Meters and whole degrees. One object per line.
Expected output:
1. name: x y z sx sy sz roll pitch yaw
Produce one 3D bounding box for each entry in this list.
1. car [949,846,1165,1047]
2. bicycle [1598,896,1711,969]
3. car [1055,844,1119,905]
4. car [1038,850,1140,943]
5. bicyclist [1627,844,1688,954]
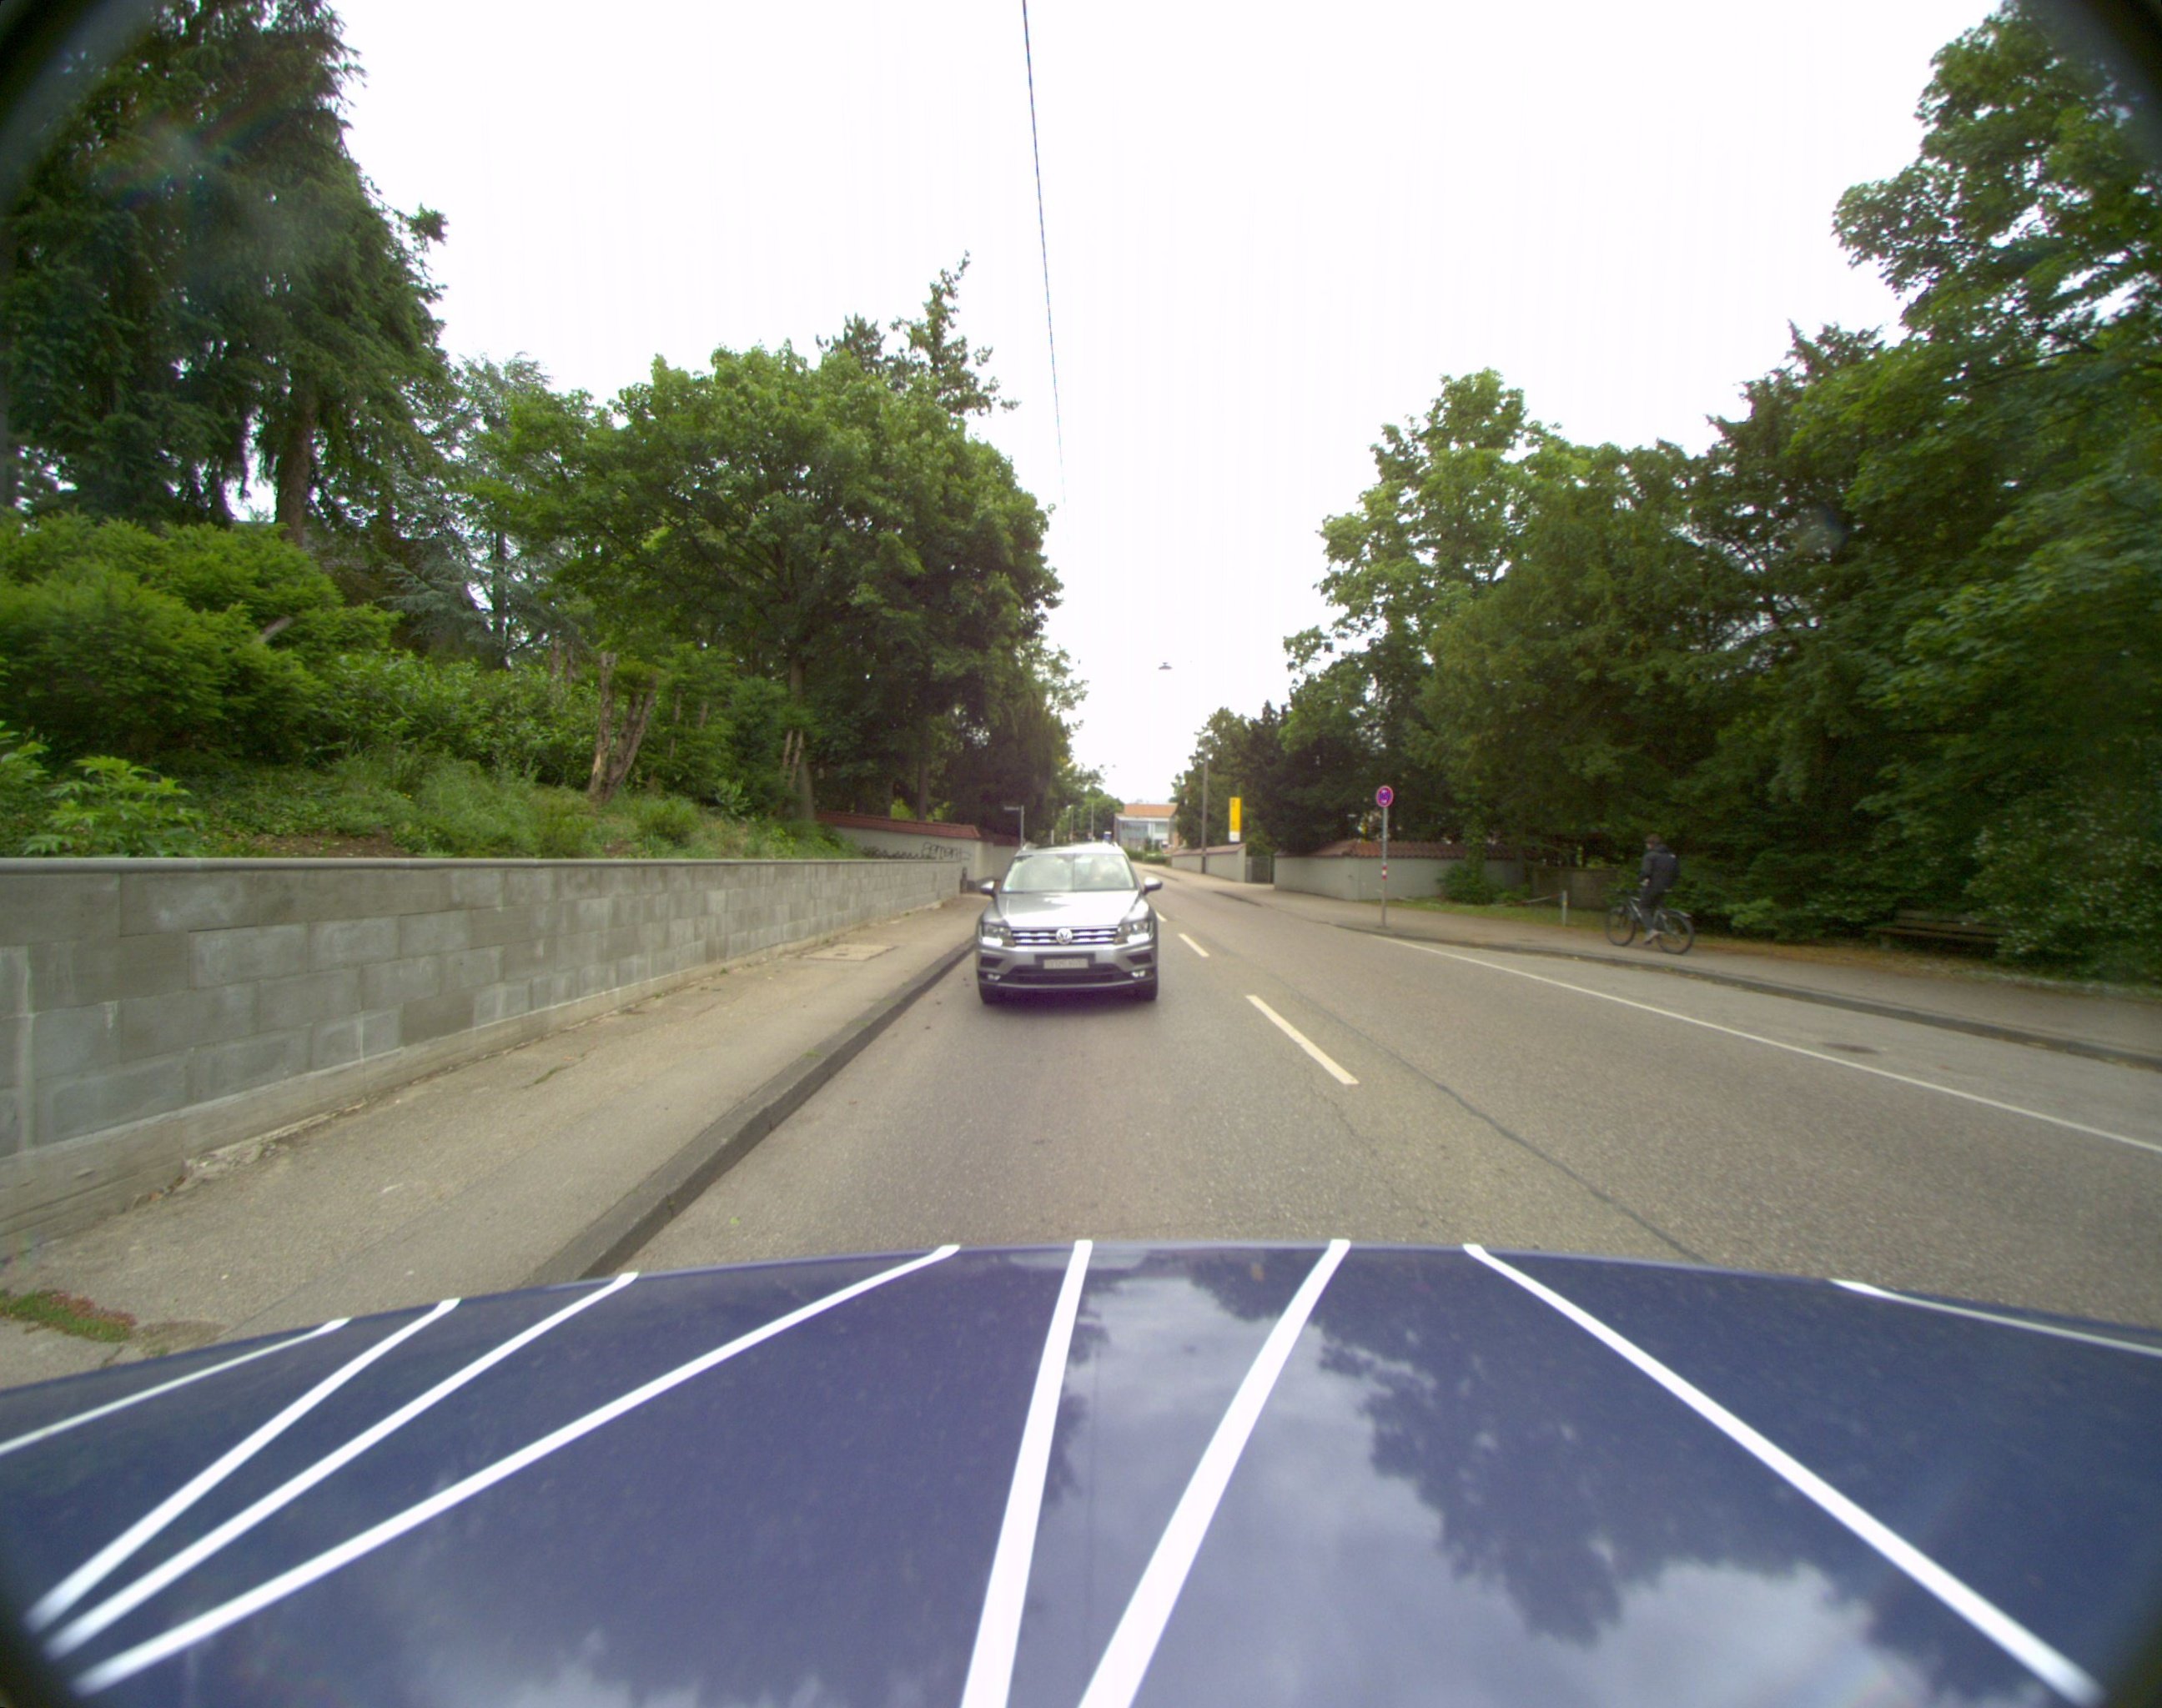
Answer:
1. car: -0.194 0.784 8.896 1.820 1.690 4.718 -1 0 0
2. bicycle: 9.151 1.223 12.212 0.496 0.959 1.748 -2 1 1
3. car: 0.191 0.562 23.954 1.820 1.733 4.487 0 1 0
4. car: 0.153 0.743 15.759 1.820 1.647 4.487 0 1 0
5. bicyclist: 9.121 0.694 12.037 0.489 1.674 0.588 -2 1 1
